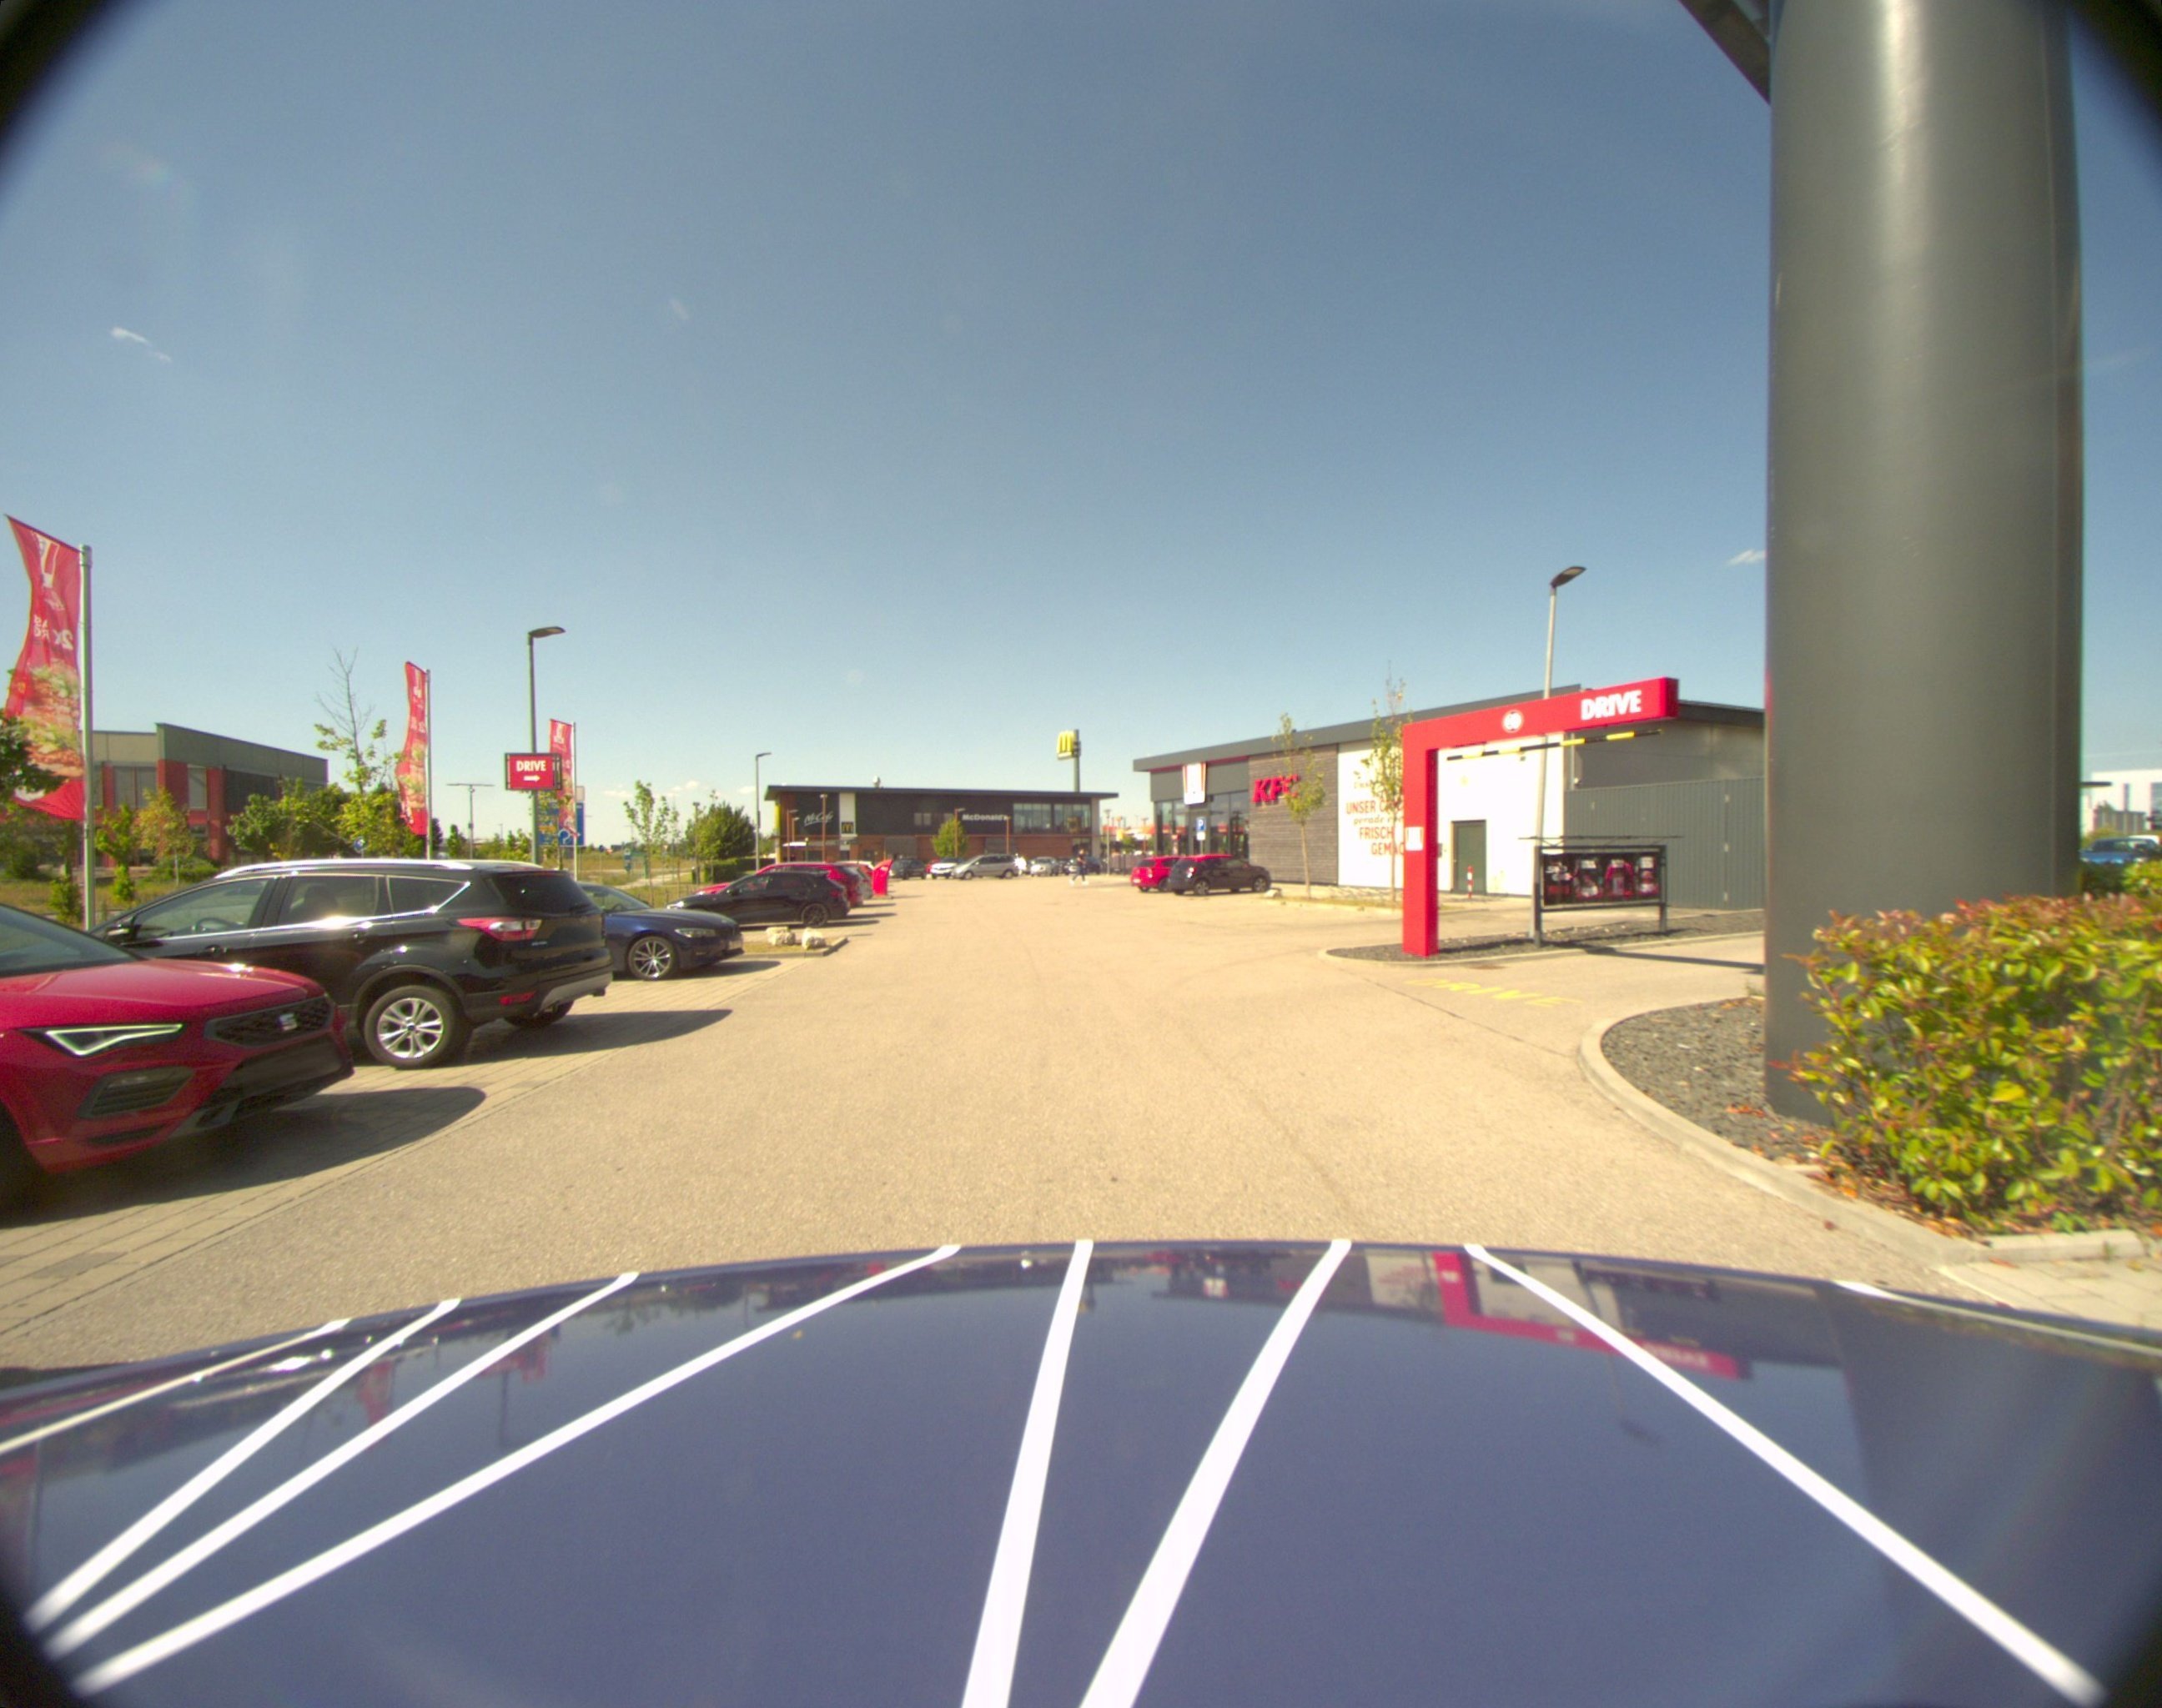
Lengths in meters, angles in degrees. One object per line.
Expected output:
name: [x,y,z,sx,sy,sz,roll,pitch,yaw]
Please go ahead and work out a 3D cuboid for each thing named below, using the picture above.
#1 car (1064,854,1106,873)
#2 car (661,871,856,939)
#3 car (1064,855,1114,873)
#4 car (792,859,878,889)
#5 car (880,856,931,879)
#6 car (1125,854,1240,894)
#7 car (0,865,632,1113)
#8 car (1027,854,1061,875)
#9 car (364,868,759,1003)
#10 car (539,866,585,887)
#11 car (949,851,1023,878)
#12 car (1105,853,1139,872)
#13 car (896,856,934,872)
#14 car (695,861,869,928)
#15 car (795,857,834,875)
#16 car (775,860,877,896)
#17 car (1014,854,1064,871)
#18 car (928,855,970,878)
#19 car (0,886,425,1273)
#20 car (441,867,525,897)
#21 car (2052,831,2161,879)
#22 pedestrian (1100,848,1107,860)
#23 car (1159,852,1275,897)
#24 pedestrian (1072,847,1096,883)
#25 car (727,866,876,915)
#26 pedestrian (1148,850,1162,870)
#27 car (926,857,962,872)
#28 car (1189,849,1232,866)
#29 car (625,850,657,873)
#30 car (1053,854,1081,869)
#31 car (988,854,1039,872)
car: [0.372,0.747,61.193,1.971,1.478,4.790,-1,0,18]
car: [-7.861,1.212,18.948,4.208,1.402,1.771,-2,1,-14]
car: [0.740,0.910,69.757,4.270,1.478,1.816,-1,1,22]
car: [-13.867,1.080,43.058,4.484,1.461,1.830,-2,1,-17]
car: [-12.614,0.940,54.892,1.972,1.517,4.211,-1,0,13]
car: [4.159,0.768,30.928,4.407,1.405,1.737,-2,1,-26]
car: [-6.729,1.022,6.676,4.331,1.693,1.894,-2,1,-6]
car: [-2.821,0.811,59.034,1.973,1.517,4.209,-1,0,6]
car: [-7.469,1.120,11.357,4.449,1.628,1.895,-2,1,-5]
car: [-41.023,1.770,60.120,2.002,1.517,4.649,-1,0,-22]
car: [-6.546,0.713,52.525,4.689,1.738,1.829,-1,1,-25]
car: [3.385,0.666,62.292,1.833,1.451,4.376,-1,0,16]
car: [-17.111,0.978,78.451,1.958,1.593,4.473,-1,0,15]
car: [-8.301,1.090,21.497,4.232,1.628,1.949,-2,1,-12]
car: [-25.423,1.103,72.654,1.995,1.681,4.237,0,0,3]
car: [-11.878,1.096,35.588,4.356,1.461,1.830,-2,1,-18]
car: [-3.828,0.781,68.818,4.105,1.506,1.816,-1,1,22]
car: [-9.687,0.890,56.245,1.973,1.645,4.209,-1,0,6]
car: [-6.404,1.070,3.955,4.082,1.599,1.894,-2,0,-10]
car: [-33.396,1.528,42.597,2.001,1.517,4.651,-1,0,-15]
car: [35.547,0.017,26.159,3.913,1.498,1.737,-2,1,-25]
pedestrian: [2.964,0.054,99.936,0.700,1.550,0.723,-1,0,37]
car: [5.062,0.728,28.300,3.913,1.498,1.737,-2,1,-25]
pedestrian: [0.152,0.542,38.088,0.993,1.799,0.726,-2,1,11]
car: [-9.425,1.198,26.041,4.604,1.405,1.738,-2,1,-15]
pedestrian: [4.609,0.385,47.222,0.625,1.266,0.612,-1,0,-40]
car: [-14.068,1.104,78.311,1.959,1.457,4.472,-1,0,13]
car: [12.862,0.369,75.623,3.991,1.543,1.757,-1,0,19]
car: [-42.549,0.725,73.530,2.002,2.184,5.096,-1,0,-23]
car: [-1.549,0.784,84.074,1.713,1.603,4.042,-1,0,20]
car: [-5.973,0.769,67.022,4.105,1.484,1.714,-1,1,22]
